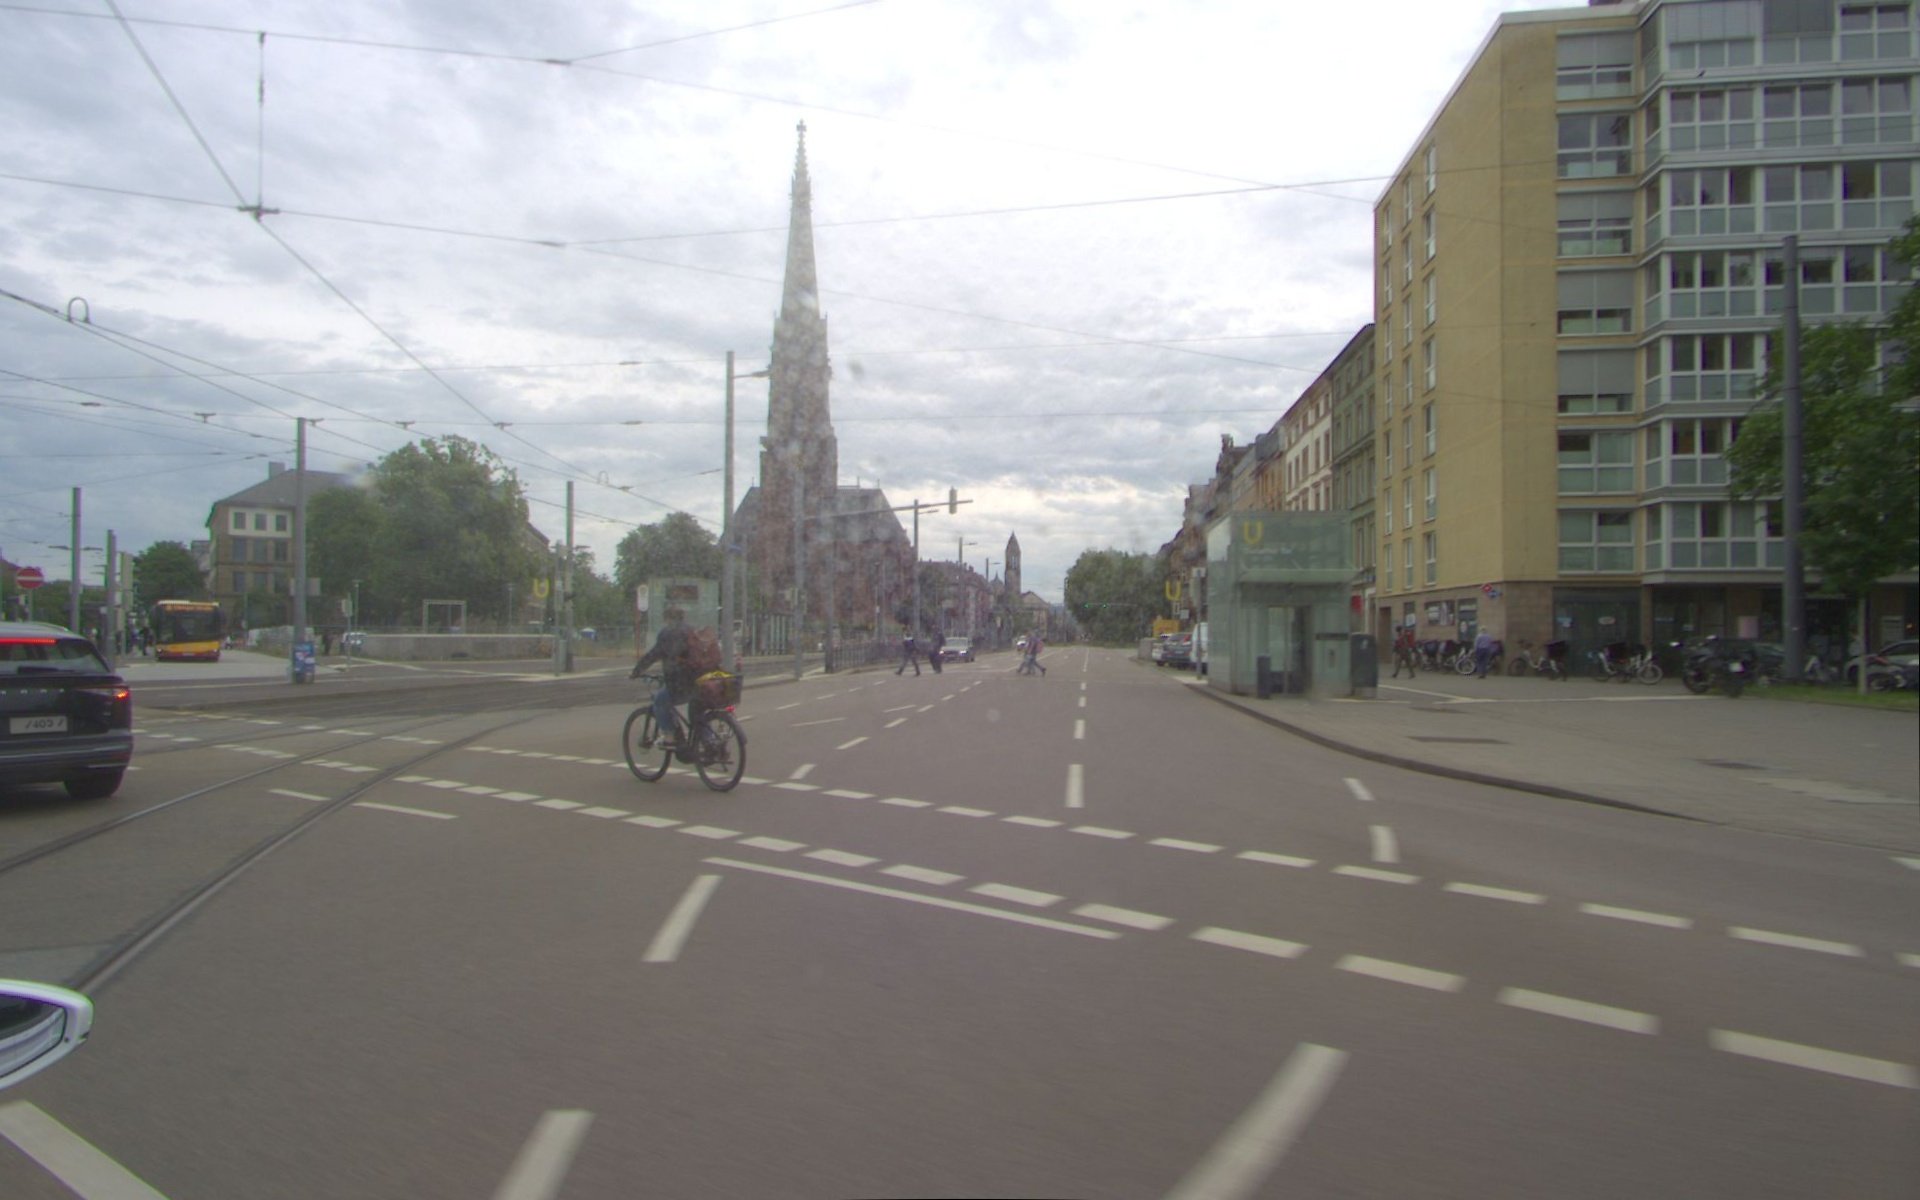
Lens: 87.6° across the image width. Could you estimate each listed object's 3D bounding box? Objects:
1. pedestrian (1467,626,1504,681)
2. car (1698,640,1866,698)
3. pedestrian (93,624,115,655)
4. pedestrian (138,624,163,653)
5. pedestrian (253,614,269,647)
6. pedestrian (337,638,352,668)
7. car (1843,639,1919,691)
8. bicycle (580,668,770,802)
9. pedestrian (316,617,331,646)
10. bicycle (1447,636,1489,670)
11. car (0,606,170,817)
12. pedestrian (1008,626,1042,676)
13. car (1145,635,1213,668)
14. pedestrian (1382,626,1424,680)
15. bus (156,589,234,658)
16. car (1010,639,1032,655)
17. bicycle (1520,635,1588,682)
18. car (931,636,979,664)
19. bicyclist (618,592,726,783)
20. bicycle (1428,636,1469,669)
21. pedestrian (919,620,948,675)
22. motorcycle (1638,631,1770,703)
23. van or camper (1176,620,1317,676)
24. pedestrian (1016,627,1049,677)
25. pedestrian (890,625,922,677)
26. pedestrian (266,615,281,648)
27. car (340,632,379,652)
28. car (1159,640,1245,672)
[{"bbox_3d":[17.312,1.747,33.015,0.797,1.760,0.906,0,-1,6],"label":"pedestrian"},{"bbox_3d":[23.548,1.917,28.911,1.806,1.461,4.167,0,-1,7],"label":"car"},{"bbox_3d":[-50.258,2.322,58.789,0.815,1.831,1.015,1,-1,-34],"label":"pedestrian"},{"bbox_3d":[-47.014,2.253,58.157,0.994,1.666,1.015,1,-1,-34],"label":"pedestrian"},{"bbox_3d":[-91.350,4.021,130.773,1.331,4.308,1.381,-1,-1,41],"label":"pedestrian"},{"bbox_3d":[-40.262,3.458,65.491,0.815,1.877,1.015,1,-1,-34],"label":"pedestrian"},{"bbox_3d":[28.413,1.890,29.126,1.961,1.482,4.002,0,-2,1],"label":"car"},{"bbox_3d":[-2.734,1.217,9.470,2.099,1.068,0.622,-1,-1,39],"label":"bicycle"},{"bbox_3d":[-41.239,2.054,64.888,0.815,1.831,1.015,0,-1,-34],"label":"pedestrian"},{"bbox_3d":[18.806,1.937,37.123,0.657,1.184,2.040,0,-1,5],"label":"bicycle"},{"bbox_3d":[-9.465,0.924,9.257,4.447,1.679,1.901,-1,-2,30],"label":"car"},{"bbox_3d":[2.188,1.707,33.735,0.934,1.632,0.768,0,-1,-15],"label":"pedestrian"},{"bbox_3d":[11.179,2.577,51.008,1.718,1.607,3.705,-1,-2,44],"label":"car"},{"bbox_3d":[14.822,1.764,33.518,1.030,1.780,0.787,0,0,-14],"label":"pedestrian"},{"bbox_3d":[-41.210,1.322,54.135,2.990,3.309,12.948,1,-2,-37],"label":"bus"},{"bbox_3d":[6.767,5.202,110.977,1.962,1.772,4.000,0,-2,10],"label":"car"},{"bbox_3d":[18.515,1.793,31.318,0.886,1.395,2.784,0,-2,10],"label":"bicycle"},{"bbox_3d":[-0.250,2.864,57.852,1.962,1.505,4.445,0,-2,10],"label":"car"},{"bbox_3d":[-2.730,0.797,9.484,0.796,1.712,0.613,0,-1,38],"label":"bicyclist"},{"bbox_3d":[18.130,1.933,37.221,0.657,1.184,2.040,0,-1,5],"label":"bicycle"},{"bbox_3d":[-0.967,1.688,35.858,0.888,1.936,0.783,0,-1,-15],"label":"pedestrian"},{"bbox_3d":[16.086,1.411,21.747,1.027,1.383,2.294,-5,-2,-1],"label":"motorcycle"},{"bbox_3d":[11.084,1.828,38.635,5.391,2.004,2.161,1,-2,-31],"label":"van or camper"},{"bbox_3d":[2.390,1.692,32.990,0.881,1.622,0.783,0,-1,-15],"label":"pedestrian"},{"bbox_3d":[-1.770,1.665,32.808,0.888,1.664,0.783,0,-1,-15],"label":"pedestrian"},{"bbox_3d":[-90.434,4.206,131.882,1.331,4.308,1.301,-1,-1,41],"label":"pedestrian"},{"bbox_3d":[-53.975,3.762,89.976,3.955,1.683,1.901,-2,-3,41],"label":"car"},{"bbox_3d":[10.690,2.449,44.159,3.692,1.320,1.669,1,-2,-36],"label":"car"}]
